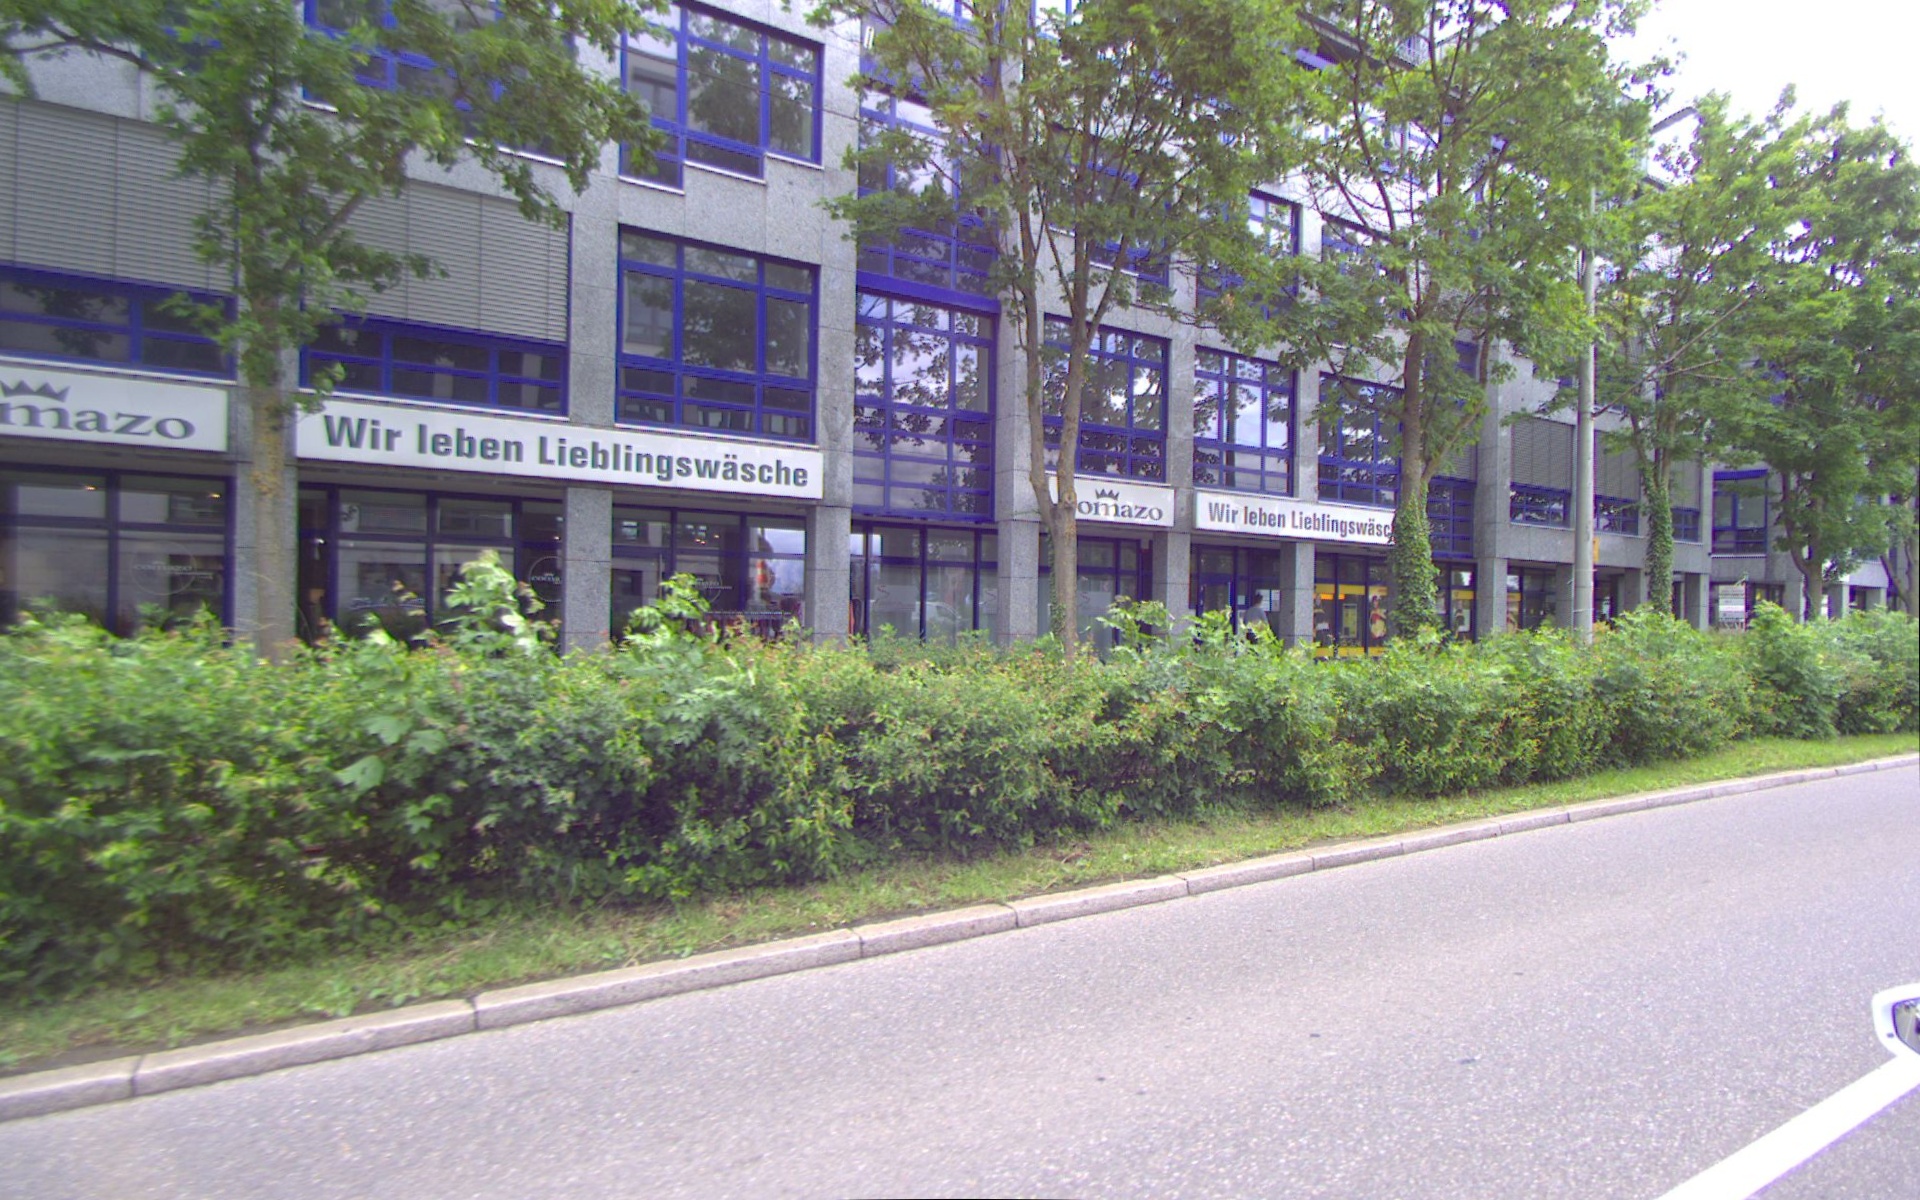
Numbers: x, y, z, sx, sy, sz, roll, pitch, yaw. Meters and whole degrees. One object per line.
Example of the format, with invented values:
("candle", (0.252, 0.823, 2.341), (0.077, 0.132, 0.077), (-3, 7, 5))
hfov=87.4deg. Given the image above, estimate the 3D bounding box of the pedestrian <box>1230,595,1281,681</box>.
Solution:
("pedestrian", (6.698, 0.854, 22.798), (0.723, 1.919, 0.770), (2, 0, -31))
